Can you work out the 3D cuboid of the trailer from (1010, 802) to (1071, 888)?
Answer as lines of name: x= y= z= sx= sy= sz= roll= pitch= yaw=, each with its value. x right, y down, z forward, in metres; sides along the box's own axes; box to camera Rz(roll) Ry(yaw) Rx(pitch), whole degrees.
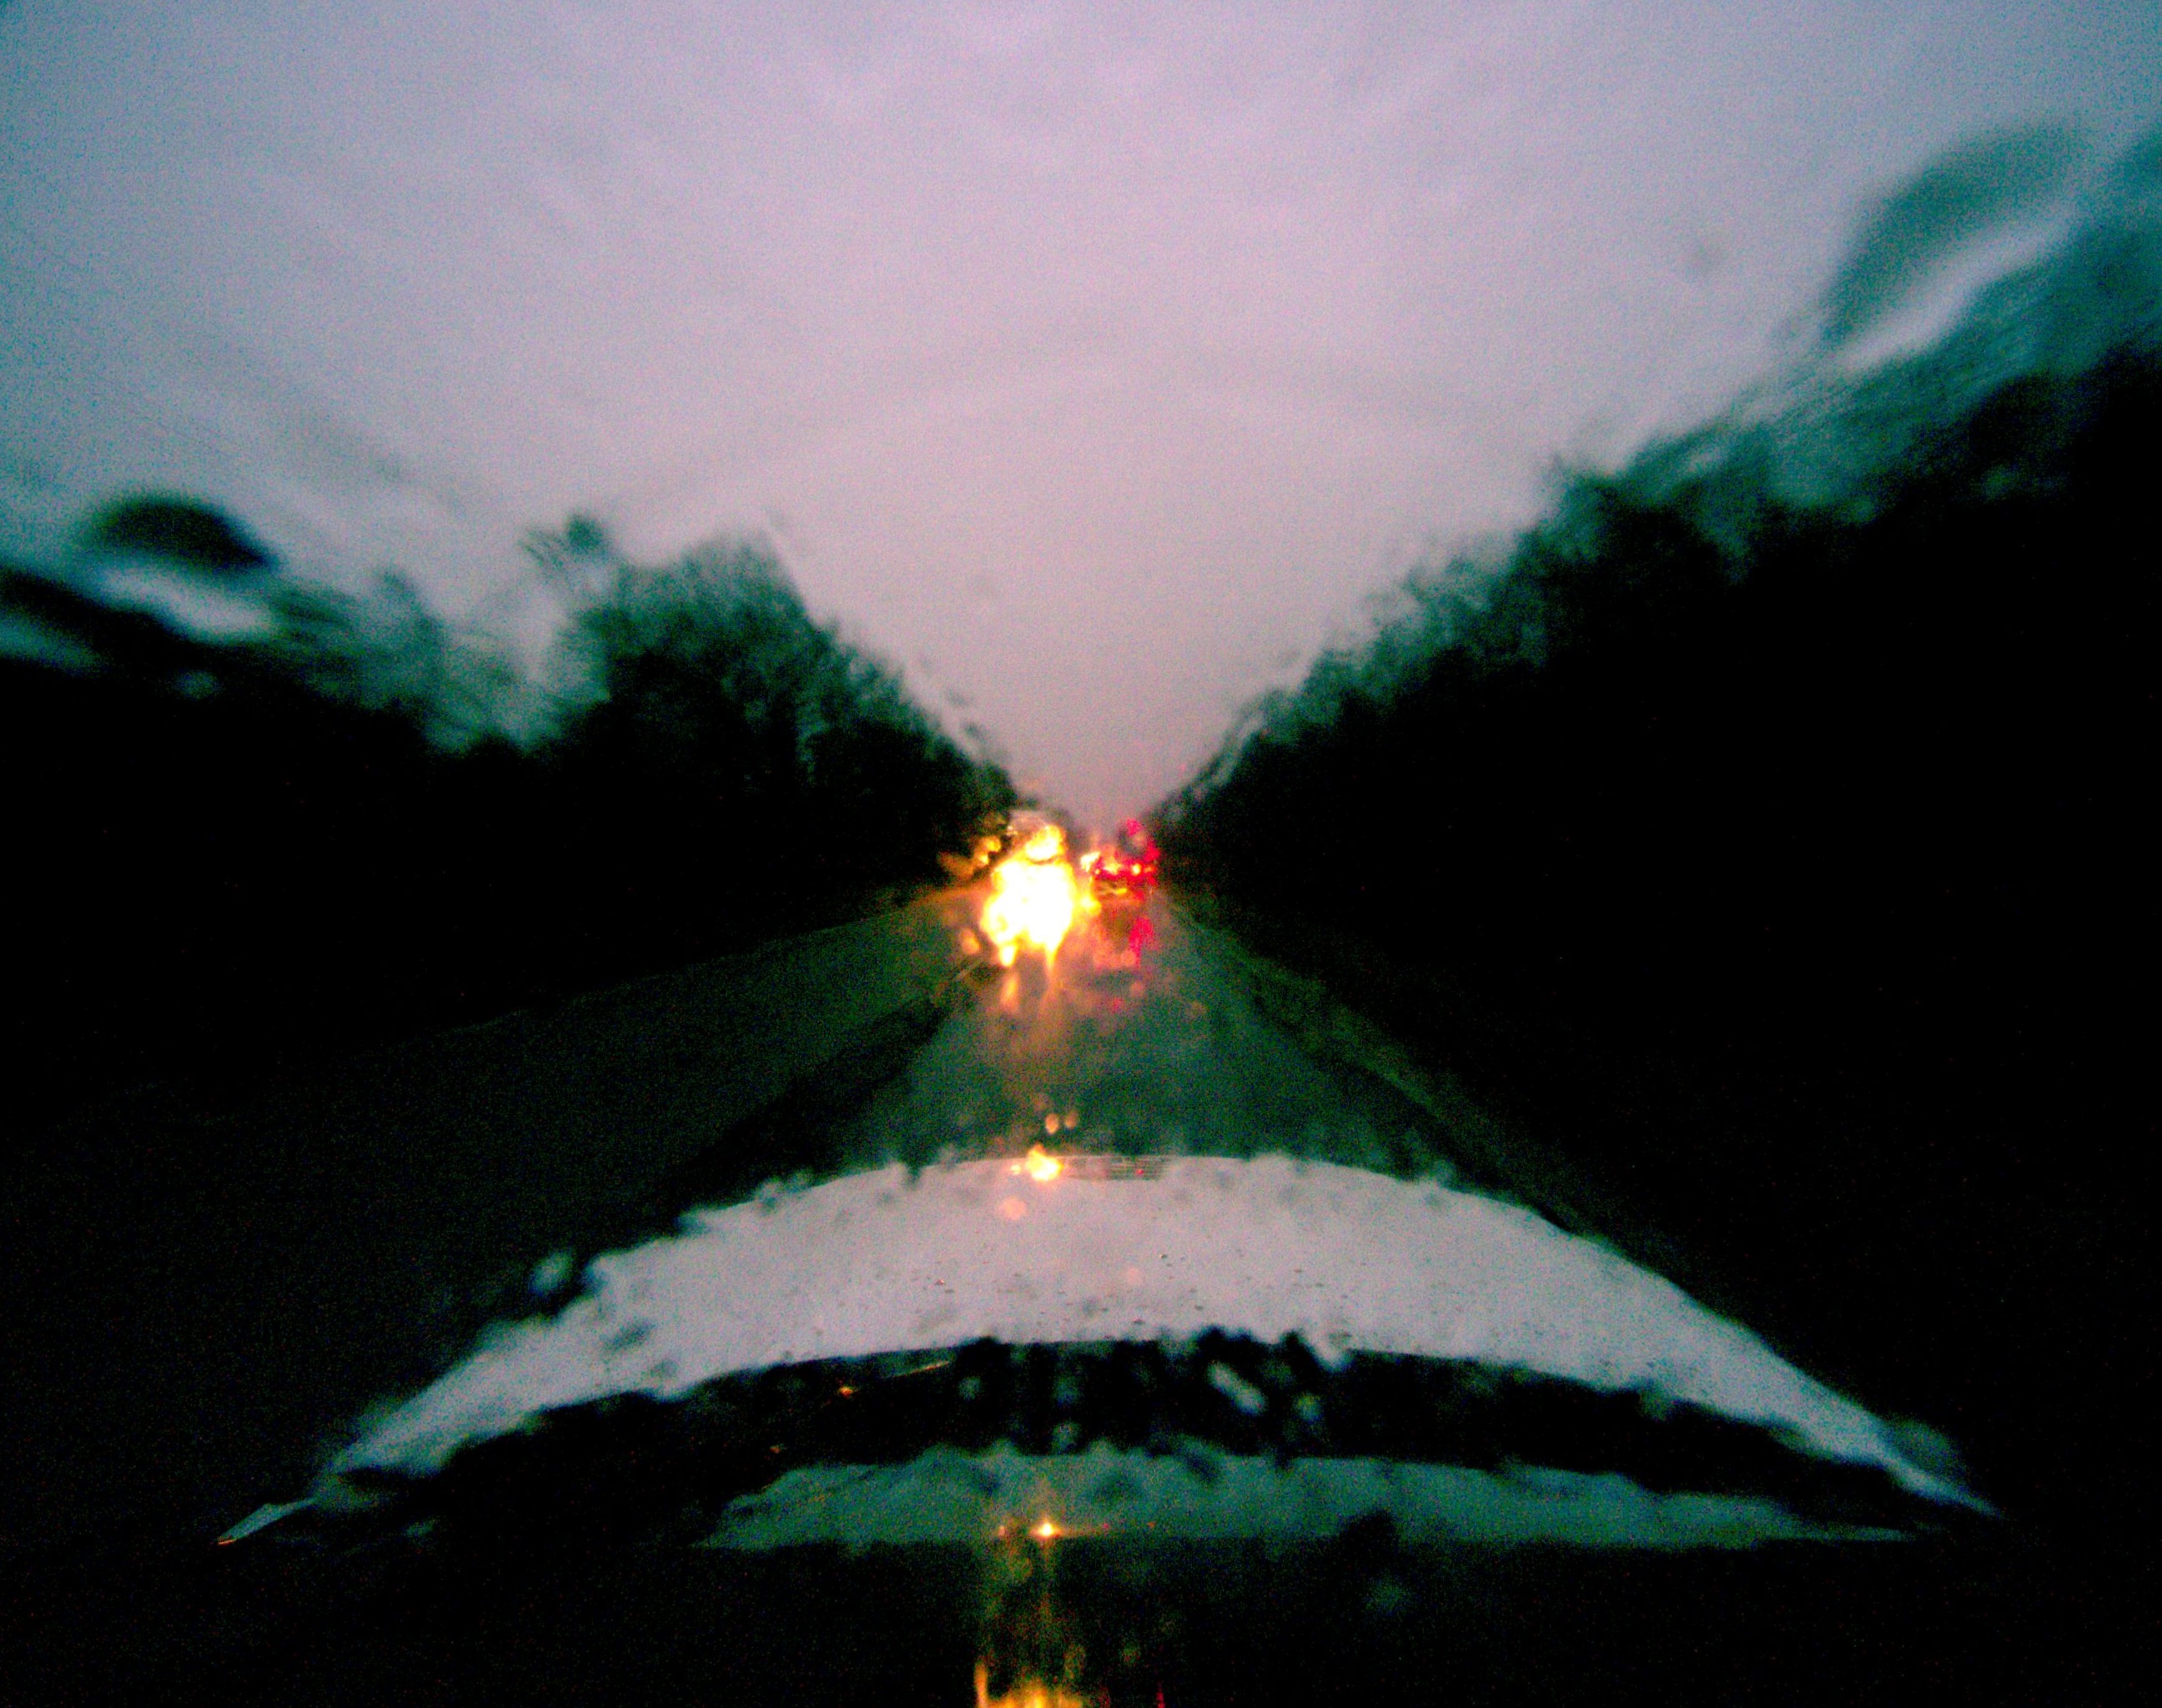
trailer: x=-2.221 y=-0.444 z=48.793 sx=2.661 sy=4.458 sz=12.245 roll=-1 pitch=0 yaw=2

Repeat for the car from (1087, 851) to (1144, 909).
car: x=1.100 y=0.762 z=25.571 sx=1.641 sy=1.672 sz=3.516 roll=-1 pitch=0 yaw=3

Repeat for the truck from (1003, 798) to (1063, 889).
truck: x=-2.398 y=-0.492 z=42.430 sx=2.632 sy=4.416 sz=5.555 roll=-1 pitch=0 yaw=2

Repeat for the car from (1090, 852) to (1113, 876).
car: x=1.646 y=0.781 z=64.804 sx=1.726 sy=1.779 sz=4.001 roll=-1 pitch=0 yaw=1
